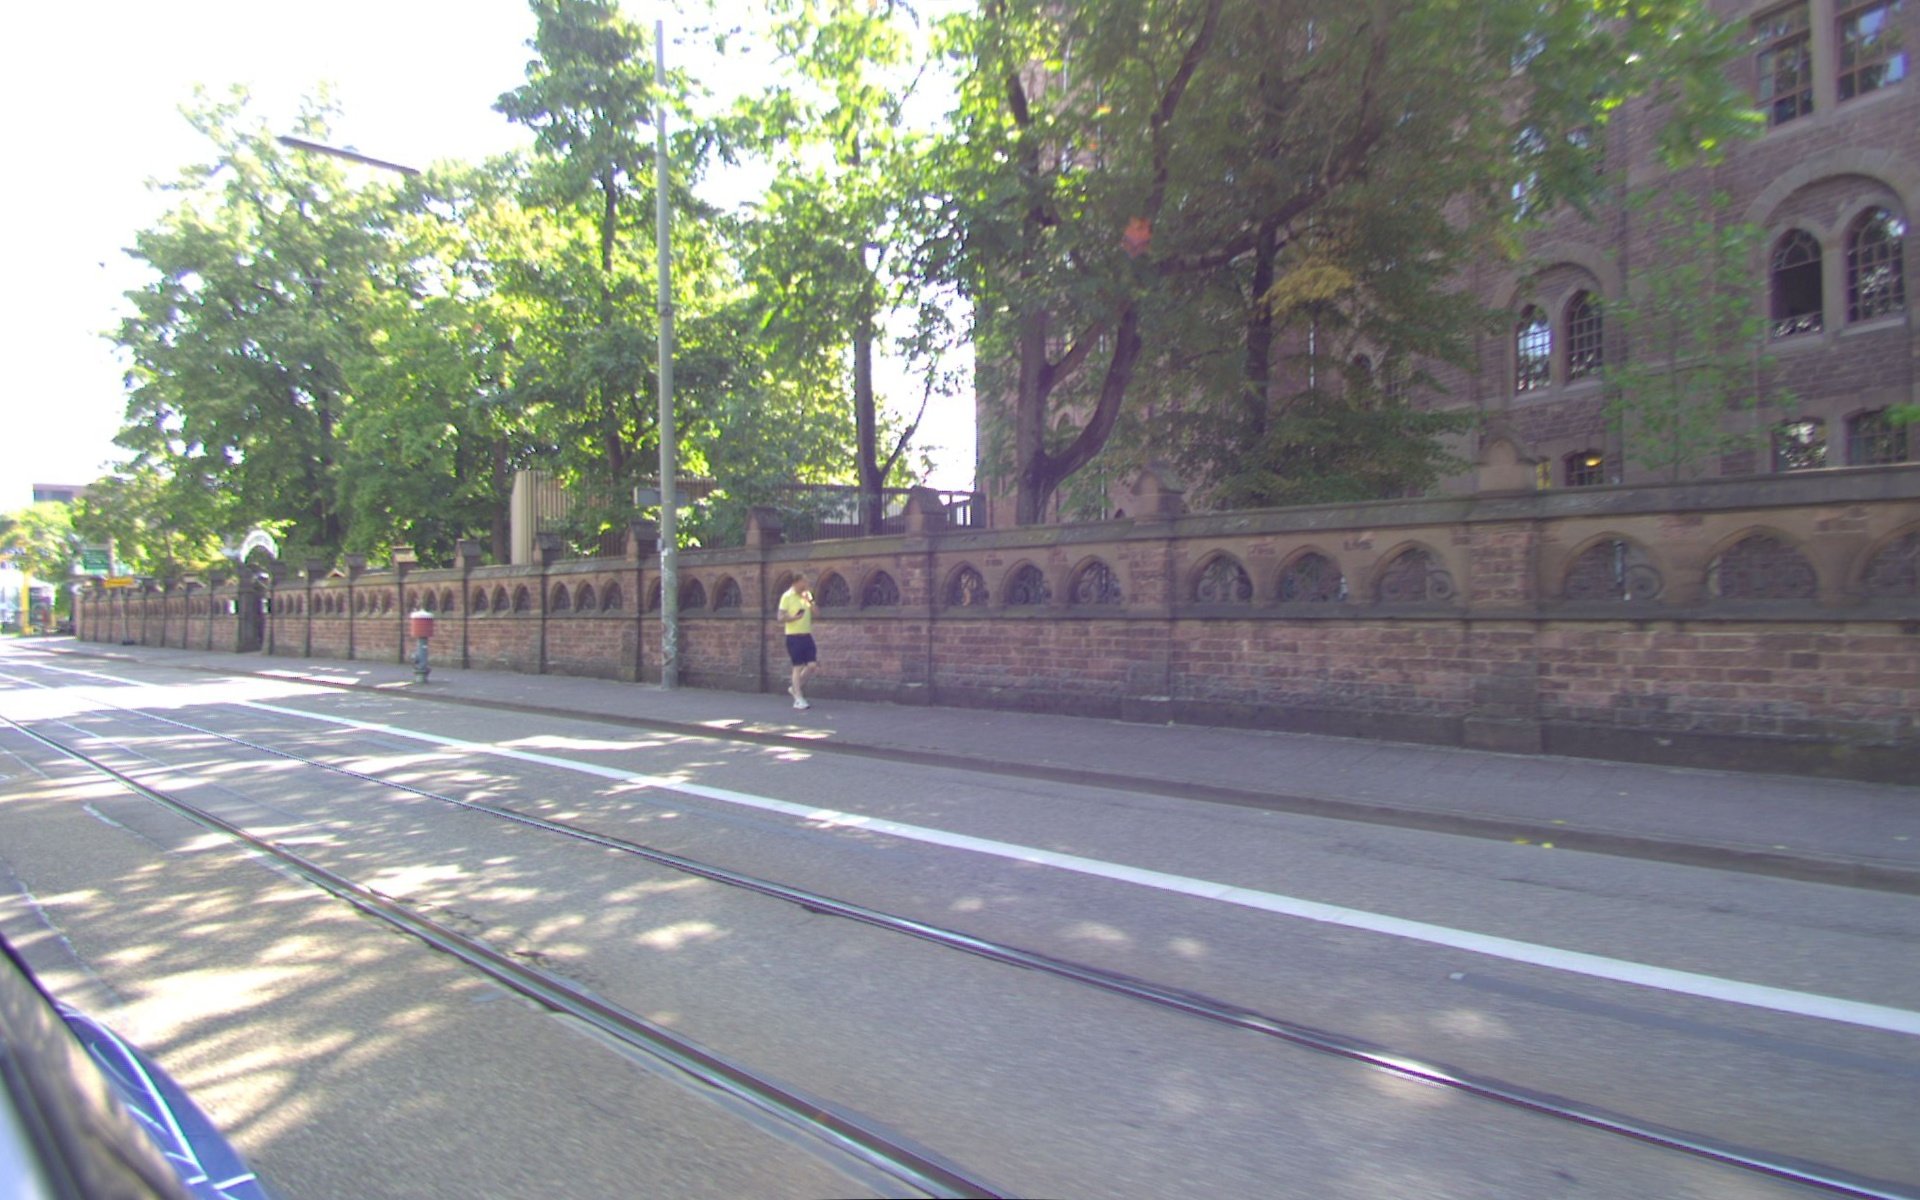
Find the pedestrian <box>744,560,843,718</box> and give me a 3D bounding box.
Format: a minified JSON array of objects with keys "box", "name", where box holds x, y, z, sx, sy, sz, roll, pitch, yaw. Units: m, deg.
[{"box":[-2.235,0.501,13.607,0.982,2.029,0.855,-1,0,39],"name":"pedestrian"}]
